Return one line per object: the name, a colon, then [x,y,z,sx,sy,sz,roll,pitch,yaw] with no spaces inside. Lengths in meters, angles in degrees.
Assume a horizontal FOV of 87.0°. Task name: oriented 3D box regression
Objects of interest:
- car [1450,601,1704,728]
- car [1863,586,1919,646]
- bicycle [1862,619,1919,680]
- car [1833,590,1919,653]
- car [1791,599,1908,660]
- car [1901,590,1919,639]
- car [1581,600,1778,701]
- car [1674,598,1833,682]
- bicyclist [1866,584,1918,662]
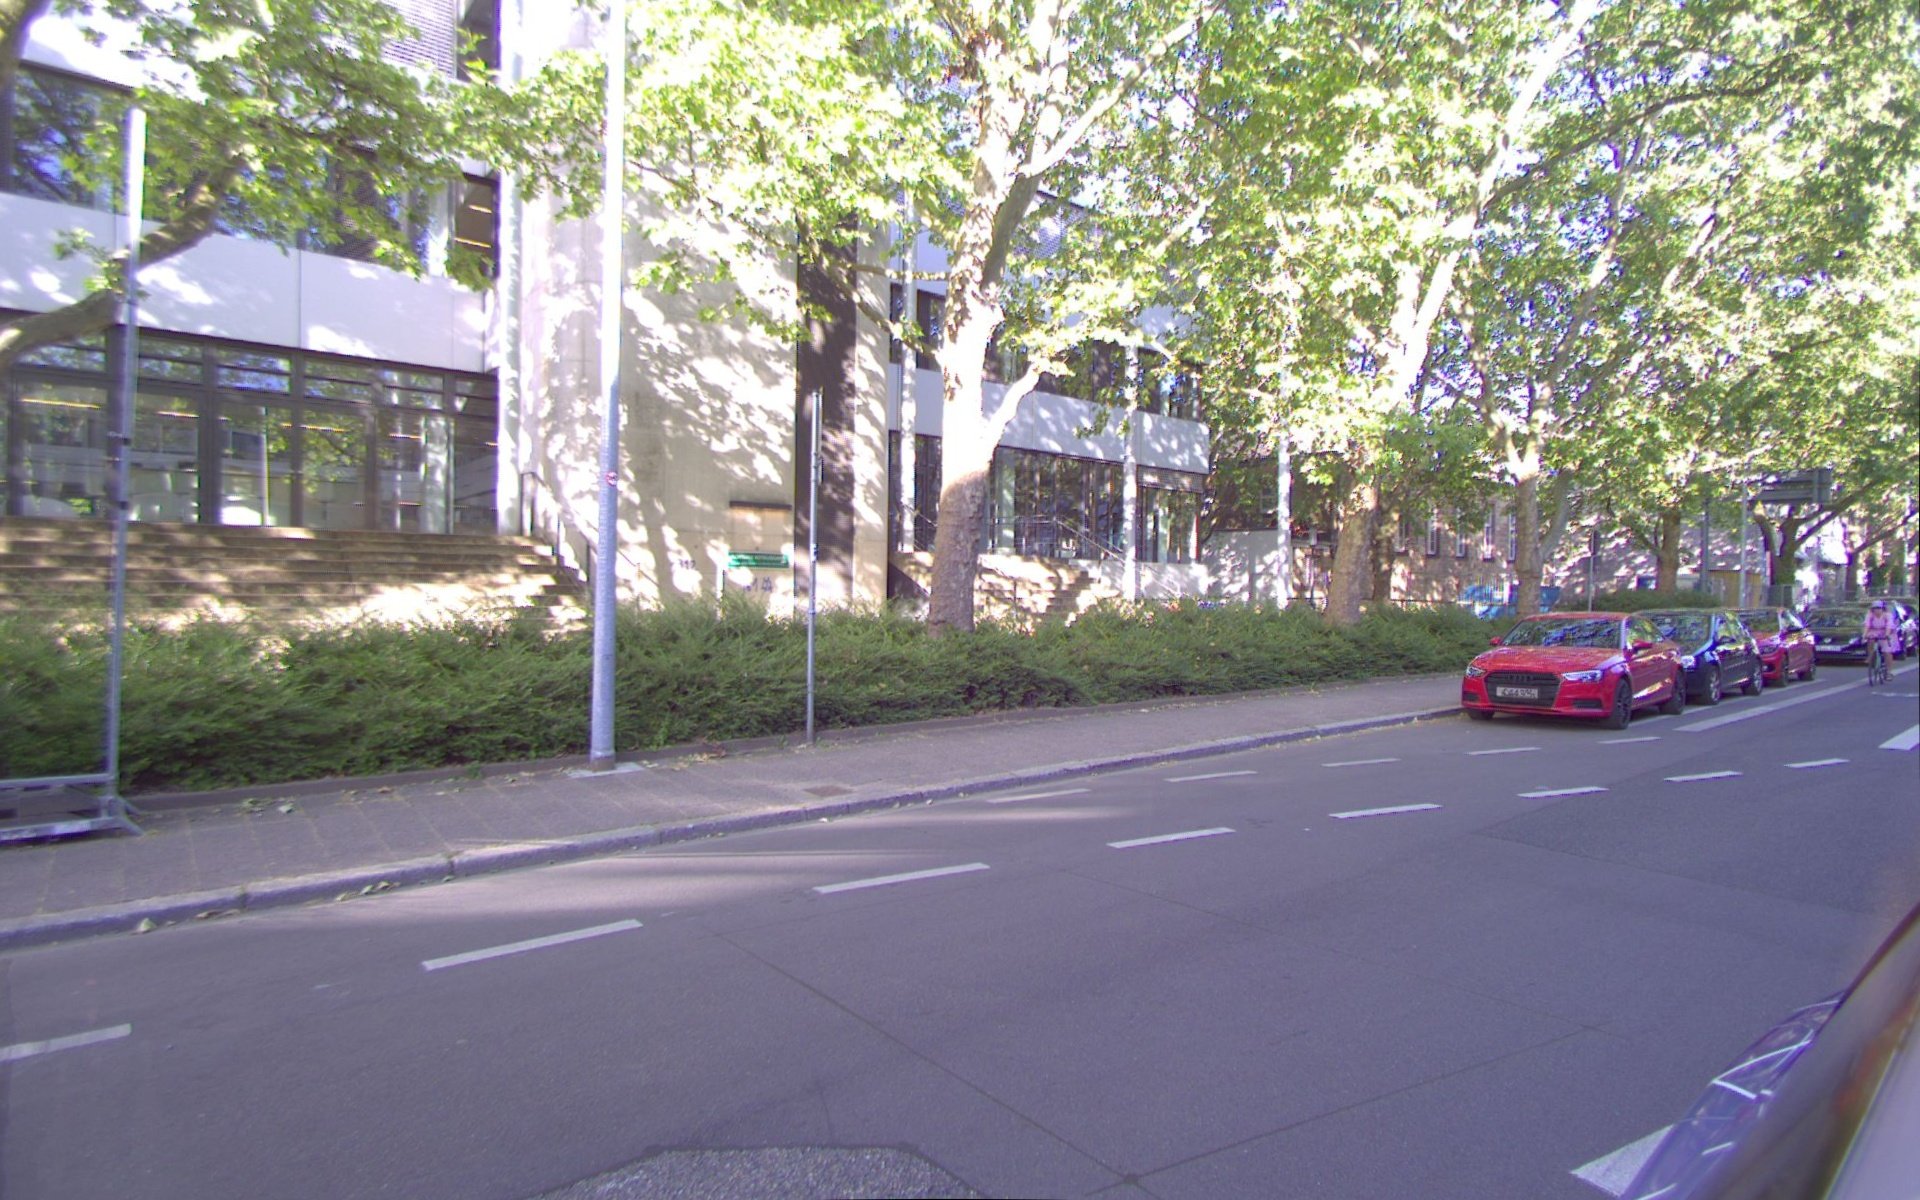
car: [8.280,0.745,13.451,3.930,1.427,1.753,0,-1,-41]
car: [30.977,0.491,32.975,4.370,1.843,1.753,0,-1,-41]
bicycle: [17.814,0.926,19.339,1.567,1.073,0.650,0,0,-41]
car: [26.720,0.590,29.184,4.101,1.674,1.753,0,-1,-41]
car: [22.953,0.720,26.071,3.841,1.451,1.753,0,-1,-41]
car: [36.200,0.521,37.271,4.370,1.750,1.753,0,-1,-41]
car: [11.856,0.743,16.596,3.841,1.451,1.753,0,-1,-41]
car: [15.708,0.725,19.973,3.841,1.486,1.753,0,-1,-41]
bicyclist: [17.794,0.431,19.327,0.728,1.453,0.650,0,0,-41]
